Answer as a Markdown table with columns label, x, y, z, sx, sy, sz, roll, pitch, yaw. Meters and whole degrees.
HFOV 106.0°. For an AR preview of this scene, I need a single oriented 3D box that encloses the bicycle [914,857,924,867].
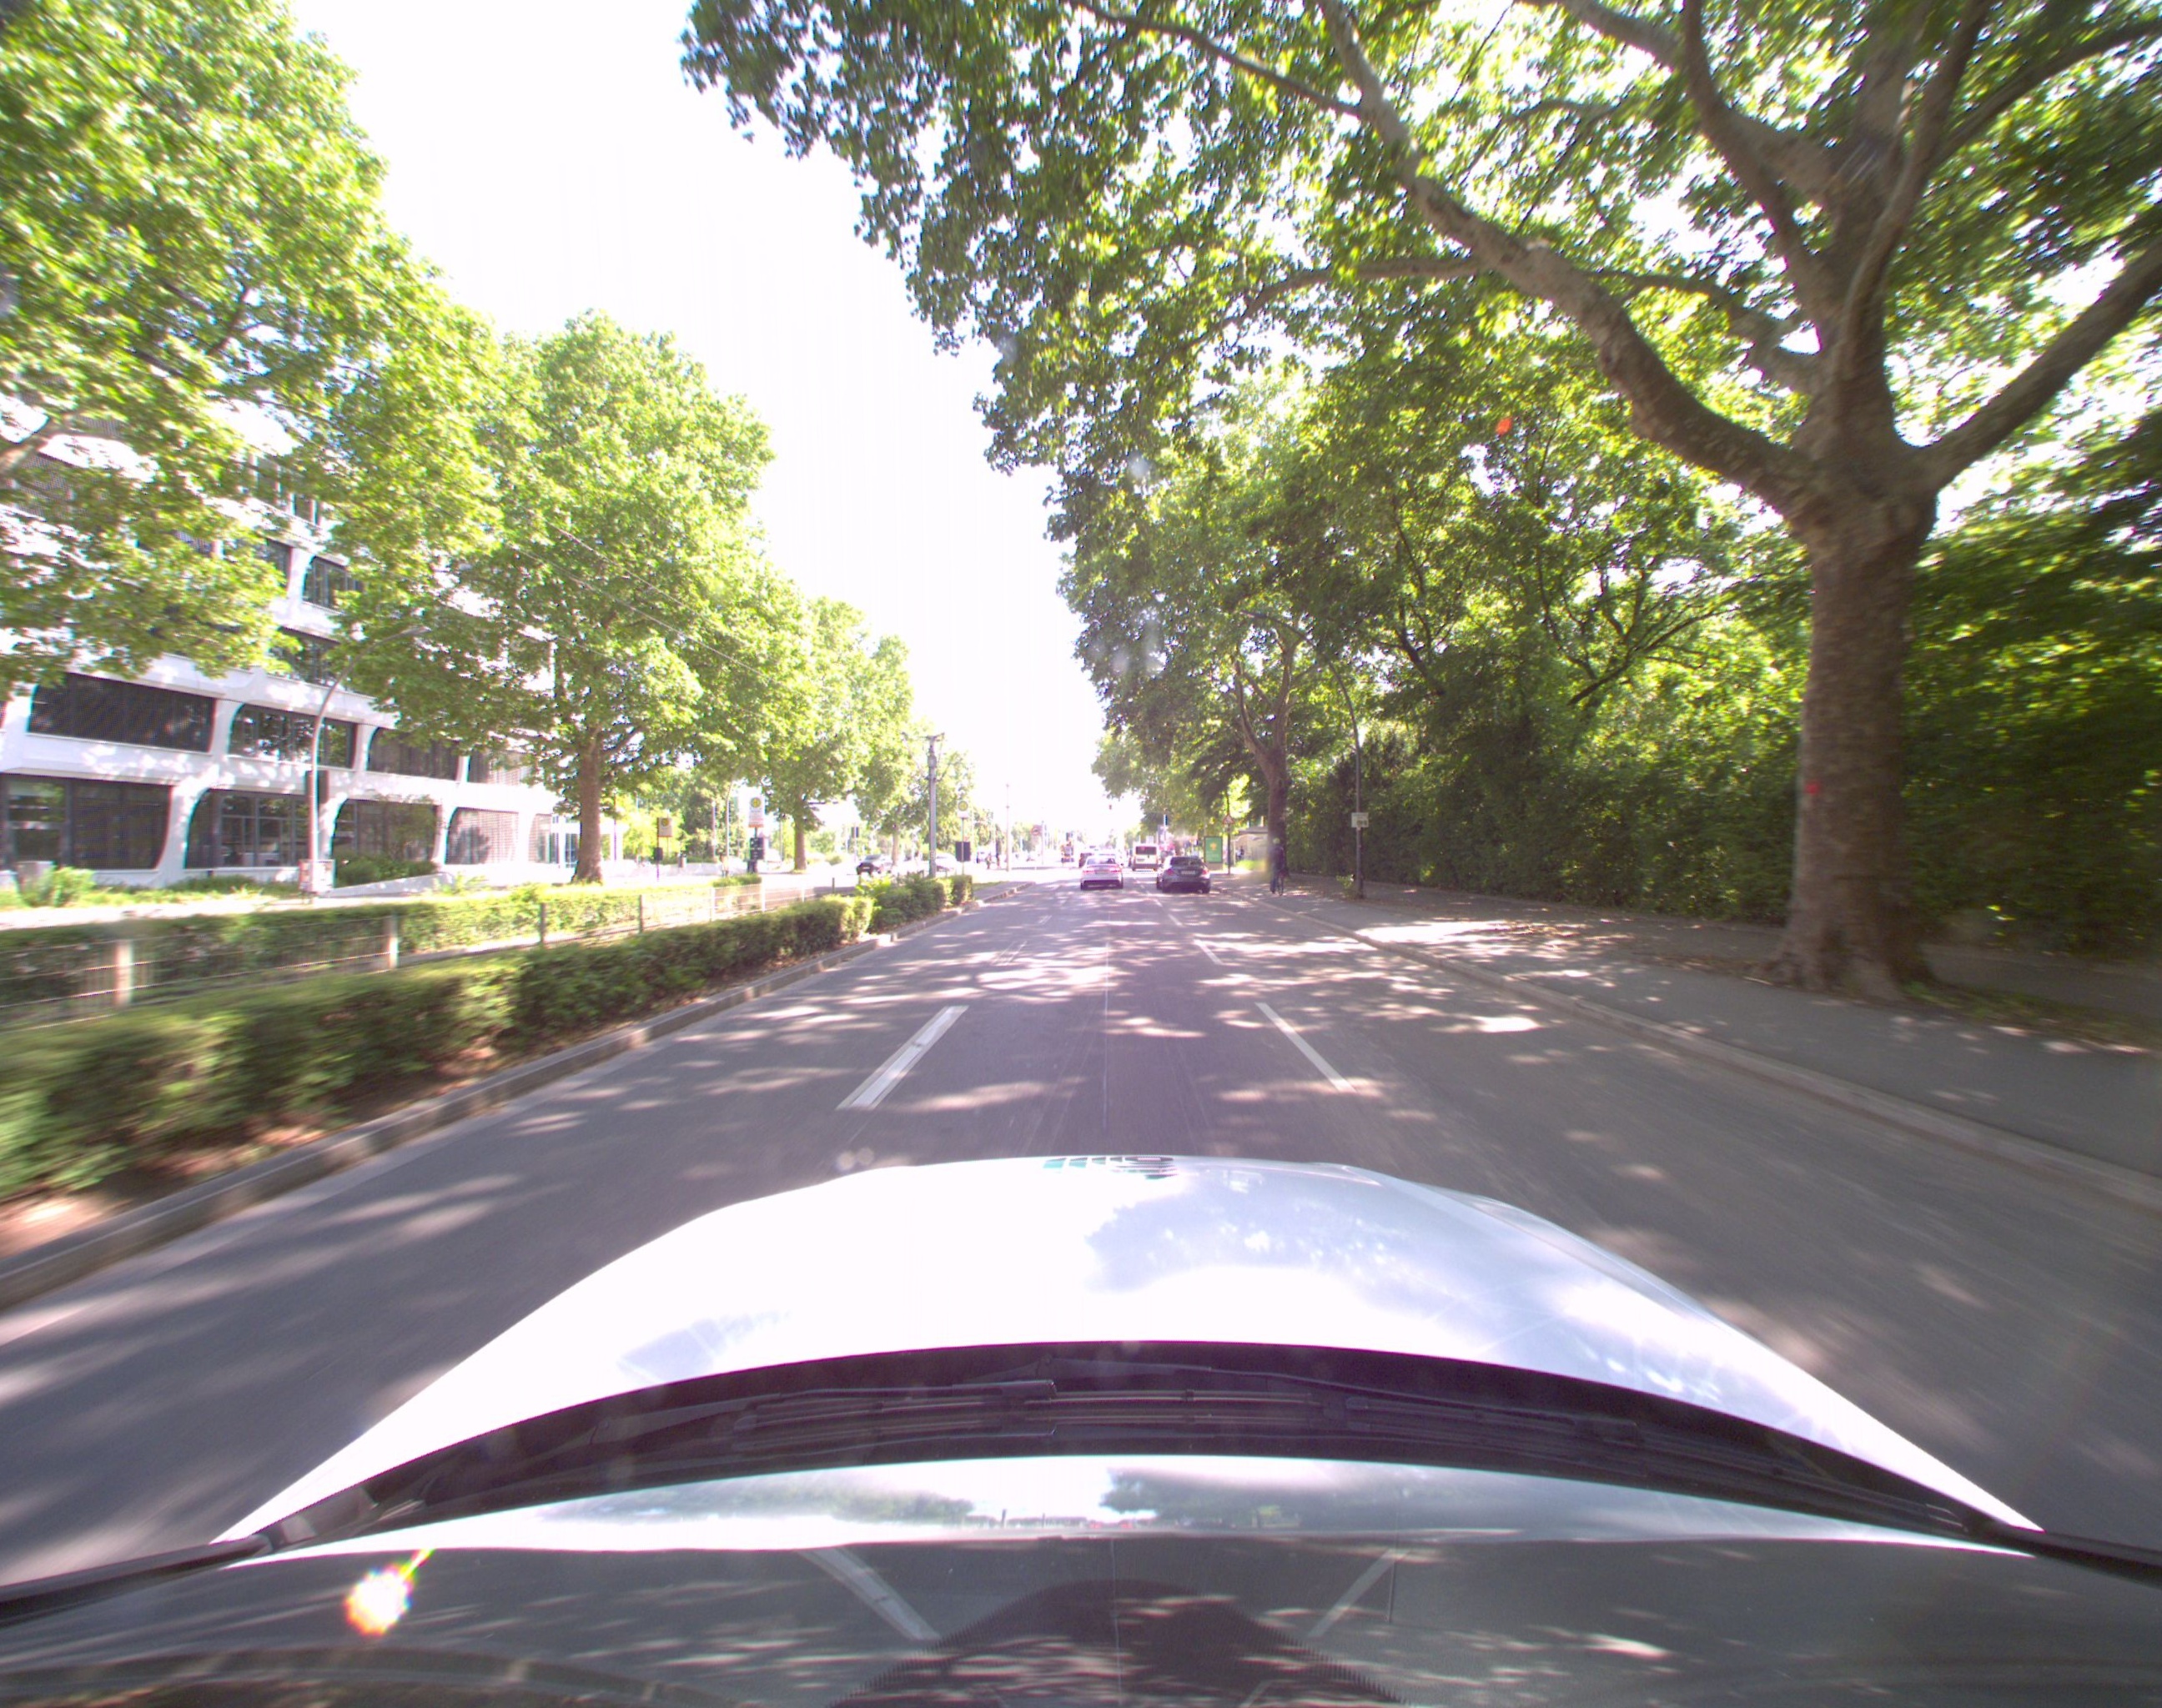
| label | x | y | z | sx | sy | sz | roll | pitch | yaw |
| --- | --- | --- | --- | --- | --- | --- | --- | --- | --- |
| bicycle | -18.543 | 0.912 | 93.271 | 0.664 | 1.094 | 1.885 | 0 | 0 | 3 |

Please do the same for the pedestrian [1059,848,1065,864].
| label | x | y | z | sx | sy | sz | roll | pitch | yaw |
| --- | --- | --- | --- | --- | --- | --- | --- | --- | --- |
| pedestrian | -2.190 | 0.249 | 94.957 | 0.621 | 1.918 | 0.690 | 0 | 0 | 2 |

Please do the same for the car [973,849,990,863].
| label | x | y | z | sx | sy | sz | roll | pitch | yaw |
| --- | --- | --- | --- | --- | --- | --- | --- | --- | --- |
| car | -16.999 | 0.284 | 139.286 | 2.106 | 2.383 | 4.003 | 0 | 0 | 3 |

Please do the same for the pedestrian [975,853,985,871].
| label | x | y | z | sx | sy | sz | roll | pitch | yaw |
| --- | --- | --- | --- | --- | --- | --- | --- | --- | --- |
| pedestrian | -9.094 | 0.695 | 73.425 | 0.760 | 1.623 | 0.590 | 0 | 0 | -23 |

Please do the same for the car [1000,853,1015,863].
| label | x | y | z | sx | sy | sz | roll | pitch | yaw |
| --- | --- | --- | --- | --- | --- | --- | --- | --- | --- |
| car | -11.644 | 0.620 | 129.295 | 1.863 | 1.609 | 4.003 | 0 | 0 | 3 |

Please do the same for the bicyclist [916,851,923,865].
| label | x | y | z | sx | sy | sz | roll | pitch | yaw |
| --- | --- | --- | --- | --- | --- | --- | --- | --- | --- |
| bicyclist | -18.533 | 0.490 | 93.265 | 0.572 | 1.604 | 0.839 | 0 | 0 | 3 |

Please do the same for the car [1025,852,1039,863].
| label | x | y | z | sx | sy | sz | roll | pitch | yaw |
| --- | --- | --- | --- | --- | --- | --- | --- | --- | --- |
| car | -8.094 | 0.601 | 134.855 | 1.985 | 1.734 | 4.003 | 0 | 0 | 3 |

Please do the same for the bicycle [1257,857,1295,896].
| label | x | y | z | sx | sy | sz | roll | pitch | yaw |
| --- | --- | --- | --- | --- | --- | --- | --- | --- | --- |
| bicycle | 6.337 | 0.717 | 26.620 | 0.712 | 1.148 | 2.179 | -3 | 1 | 1 |

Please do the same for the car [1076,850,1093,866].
| label | x | y | z | sx | sy | sz | roll | pitch | yaw |
| --- | --- | --- | --- | --- | --- | --- | --- | --- | --- |
| car | 0.400 | 0.443 | 87.801 | 1.722 | 1.631 | 4.002 | 0 | 0 | 2 |

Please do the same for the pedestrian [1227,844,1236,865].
| label | x | y | z | sx | sy | sz | roll | pitch | yaw |
| --- | --- | --- | --- | --- | --- | --- | --- | --- | --- |
| pedestrian | 13.689 | 0.080 | 74.048 | 0.611 | 1.896 | 0.694 | -1 | 0 | -1 |

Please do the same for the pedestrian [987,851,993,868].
| label | x | y | z | sx | sy | sz | roll | pitch | yaw |
| --- | --- | --- | --- | --- | --- | --- | --- | --- | --- |
| pedestrian | -8.885 | 0.561 | 79.152 | 0.490 | 1.679 | 0.644 | 0 | 0 | 2 |

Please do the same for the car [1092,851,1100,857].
| label | x | y | z | sx | sy | sz | roll | pitch | yaw |
| --- | --- | --- | --- | --- | --- | --- | --- | --- | --- |
| car | 3.978 | 0.094 | 214.424 | 1.862 | 1.609 | 4.005 | 0 | 0 | 5 |

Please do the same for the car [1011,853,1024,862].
| label | x | y | z | sx | sy | sz | roll | pitch | yaw |
| --- | --- | --- | --- | --- | --- | --- | --- | --- | --- |
| car | -11.053 | 0.558 | 142.032 | 1.756 | 1.609 | 3.863 | 0 | 0 | 3 |

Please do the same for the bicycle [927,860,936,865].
| label | x | y | z | sx | sy | sz | roll | pitch | yaw |
| --- | --- | --- | --- | --- | --- | --- | --- | --- | --- |
| bicycle | -24.101 | 1.350 | 130.939 | 0.486 | 0.731 | 1.632 | 0 | 0 | 31 |

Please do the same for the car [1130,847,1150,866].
| label | x | y | z | sx | sy | sz | roll | pitch | yaw |
| --- | --- | --- | --- | --- | --- | --- | --- | --- | --- |
| car | 6.350 | 0.304 | 88.611 | 2.064 | 1.999 | 4.060 | 0 | 0 | 2 |

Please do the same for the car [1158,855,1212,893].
| label | x | y | z | sx | sy | sz | roll | pitch | yaw |
| --- | --- | --- | --- | --- | --- | --- | --- | --- | --- |
| car | 4.016 | 0.740 | 32.083 | 1.775 | 1.420 | 4.002 | 0 | 0 | 2 |

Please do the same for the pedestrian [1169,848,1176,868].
| label | x | y | z | sx | sy | sz | roll | pitch | yaw |
| --- | --- | --- | --- | --- | --- | --- | --- | --- | --- |
| pedestrian | 9.089 | 0.383 | 80.755 | 0.633 | 1.946 | 0.719 | 0 | 0 | 2 |

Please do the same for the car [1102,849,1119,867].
| label | x | y | z | sx | sy | sz | roll | pitch | yaw |
| --- | --- | --- | --- | --- | --- | --- | --- | --- | --- |
| car | 3.207 | 0.413 | 87.901 | 1.722 | 1.901 | 4.002 | 0 | 0 | 2 |

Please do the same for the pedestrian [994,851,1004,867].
| label | x | y | z | sx | sy | sz | roll | pitch | yaw |
| --- | --- | --- | --- | --- | --- | --- | --- | --- | --- |
| pedestrian | -8.574 | 0.513 | 85.126 | 0.769 | 1.734 | 0.756 | 0 | 0 | 11 |

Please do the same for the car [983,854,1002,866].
| label | x | y | z | sx | sy | sz | roll | pitch | yaw |
| --- | --- | --- | --- | --- | --- | --- | --- | --- | --- |
| car | -11.640 | 0.816 | 107.685 | 1.789 | 1.488 | 4.388 | 0 | 0 | 3 |

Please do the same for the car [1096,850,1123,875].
| label | x | y | z | sx | sy | sz | roll | pitch | yaw |
| --- | --- | --- | --- | --- | --- | --- | --- | --- | --- |
| car | 1.925 | 0.535 | 55.001 | 1.722 | 1.605 | 3.887 | 0 | 0 | 2 |

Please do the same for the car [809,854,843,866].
| label | x | y | z | sx | sy | sz | roll | pitch | yaw |
| --- | --- | --- | --- | --- | --- | --- | --- | --- | --- |
| car | -33.385 | 0.716 | 106.684 | 3.832 | 1.549 | 1.770 | 0 | 0 | 2 |

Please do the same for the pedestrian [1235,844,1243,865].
| label | x | y | z | sx | sy | sz | roll | pitch | yaw |
| --- | --- | --- | --- | --- | --- | --- | --- | --- | --- |
| pedestrian | 14.349 | 0.070 | 74.077 | 0.611 | 1.896 | 0.597 | -1 | 0 | -1 |

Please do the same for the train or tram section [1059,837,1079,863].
| label | x | y | z | sx | sy | sz | roll | pitch | yaw |
| --- | --- | --- | --- | --- | --- | --- | --- | --- | --- |
| train or tram section | -1.894 | -0.590 | 128.669 | 2.606 | 4.015 | 7.754 | 0 | 0 | 3 |

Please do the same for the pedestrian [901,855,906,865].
| label | x | y | z | sx | sy | sz | roll | pitch | yaw |
| --- | --- | --- | --- | --- | --- | --- | --- | --- | --- |
| pedestrian | -26.163 | 0.884 | 119.898 | 0.620 | 1.542 | 0.782 | 0 | 0 | 1 |

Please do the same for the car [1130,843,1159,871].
| label | x | y | z | sx | sy | sz | roll | pitch | yaw |
| --- | --- | --- | --- | --- | --- | --- | --- | --- | --- |
| car | 5.225 | 0.224 | 67.344 | 2.221 | 2.212 | 4.164 | 0 | 0 | 2 |

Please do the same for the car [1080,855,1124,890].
| label | x | y | z | sx | sy | sz | roll | pitch | yaw |
| --- | --- | --- | --- | --- | --- | --- | --- | --- | --- |
| car | 0.938 | 0.744 | 35.097 | 1.777 | 1.420 | 3.887 | 0 | 0 | 2 |

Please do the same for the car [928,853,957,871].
| label | x | y | z | sx | sy | sz | roll | pitch | yaw |
| --- | --- | --- | --- | --- | --- | --- | --- | --- | --- |
| car | -12.592 | 0.723 | 74.187 | 1.803 | 1.563 | 4.306 | 0 | 0 | 2 |

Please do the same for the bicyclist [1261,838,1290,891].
| label | x | y | z | sx | sy | sz | roll | pitch | yaw |
| --- | --- | --- | --- | --- | --- | --- | --- | --- | --- |
| bicyclist | 6.324 | 0.326 | 26.517 | 0.632 | 1.648 | 0.980 | -3 | 1 | 1 |

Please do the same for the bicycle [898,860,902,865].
| label | x | y | z | sx | sy | sz | roll | pitch | yaw |
| --- | --- | --- | --- | --- | --- | --- | --- | --- | --- |
| bicycle | -25.937 | 1.264 | 116.737 | 0.420 | 0.748 | 1.142 | 0 | 0 | -9 |

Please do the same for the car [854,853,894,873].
| label | x | y | z | sx | sy | sz | roll | pitch | yaw |
| --- | --- | --- | --- | --- | --- | --- | --- | --- | --- |
| car | -16.741 | 0.696 | 66.131 | 1.823 | 1.624 | 4.899 | 0 | 0 | 2 |

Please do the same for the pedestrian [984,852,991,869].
| label | x | y | z | sx | sy | sz | roll | pitch | yaw |
| --- | --- | --- | --- | --- | --- | --- | --- | --- | --- |
| pedestrian | -8.967 | 0.625 | 78.464 | 0.590 | 1.646 | 0.555 | 0 | 0 | 2 |

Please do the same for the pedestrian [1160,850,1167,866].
| label | x | y | z | sx | sy | sz | roll | pitch | yaw |
| --- | --- | --- | --- | --- | --- | --- | --- | --- | --- |
| pedestrian | 8.555 | 0.426 | 84.839 | 0.600 | 1.694 | 0.954 | -3 | 0 | 2 |
